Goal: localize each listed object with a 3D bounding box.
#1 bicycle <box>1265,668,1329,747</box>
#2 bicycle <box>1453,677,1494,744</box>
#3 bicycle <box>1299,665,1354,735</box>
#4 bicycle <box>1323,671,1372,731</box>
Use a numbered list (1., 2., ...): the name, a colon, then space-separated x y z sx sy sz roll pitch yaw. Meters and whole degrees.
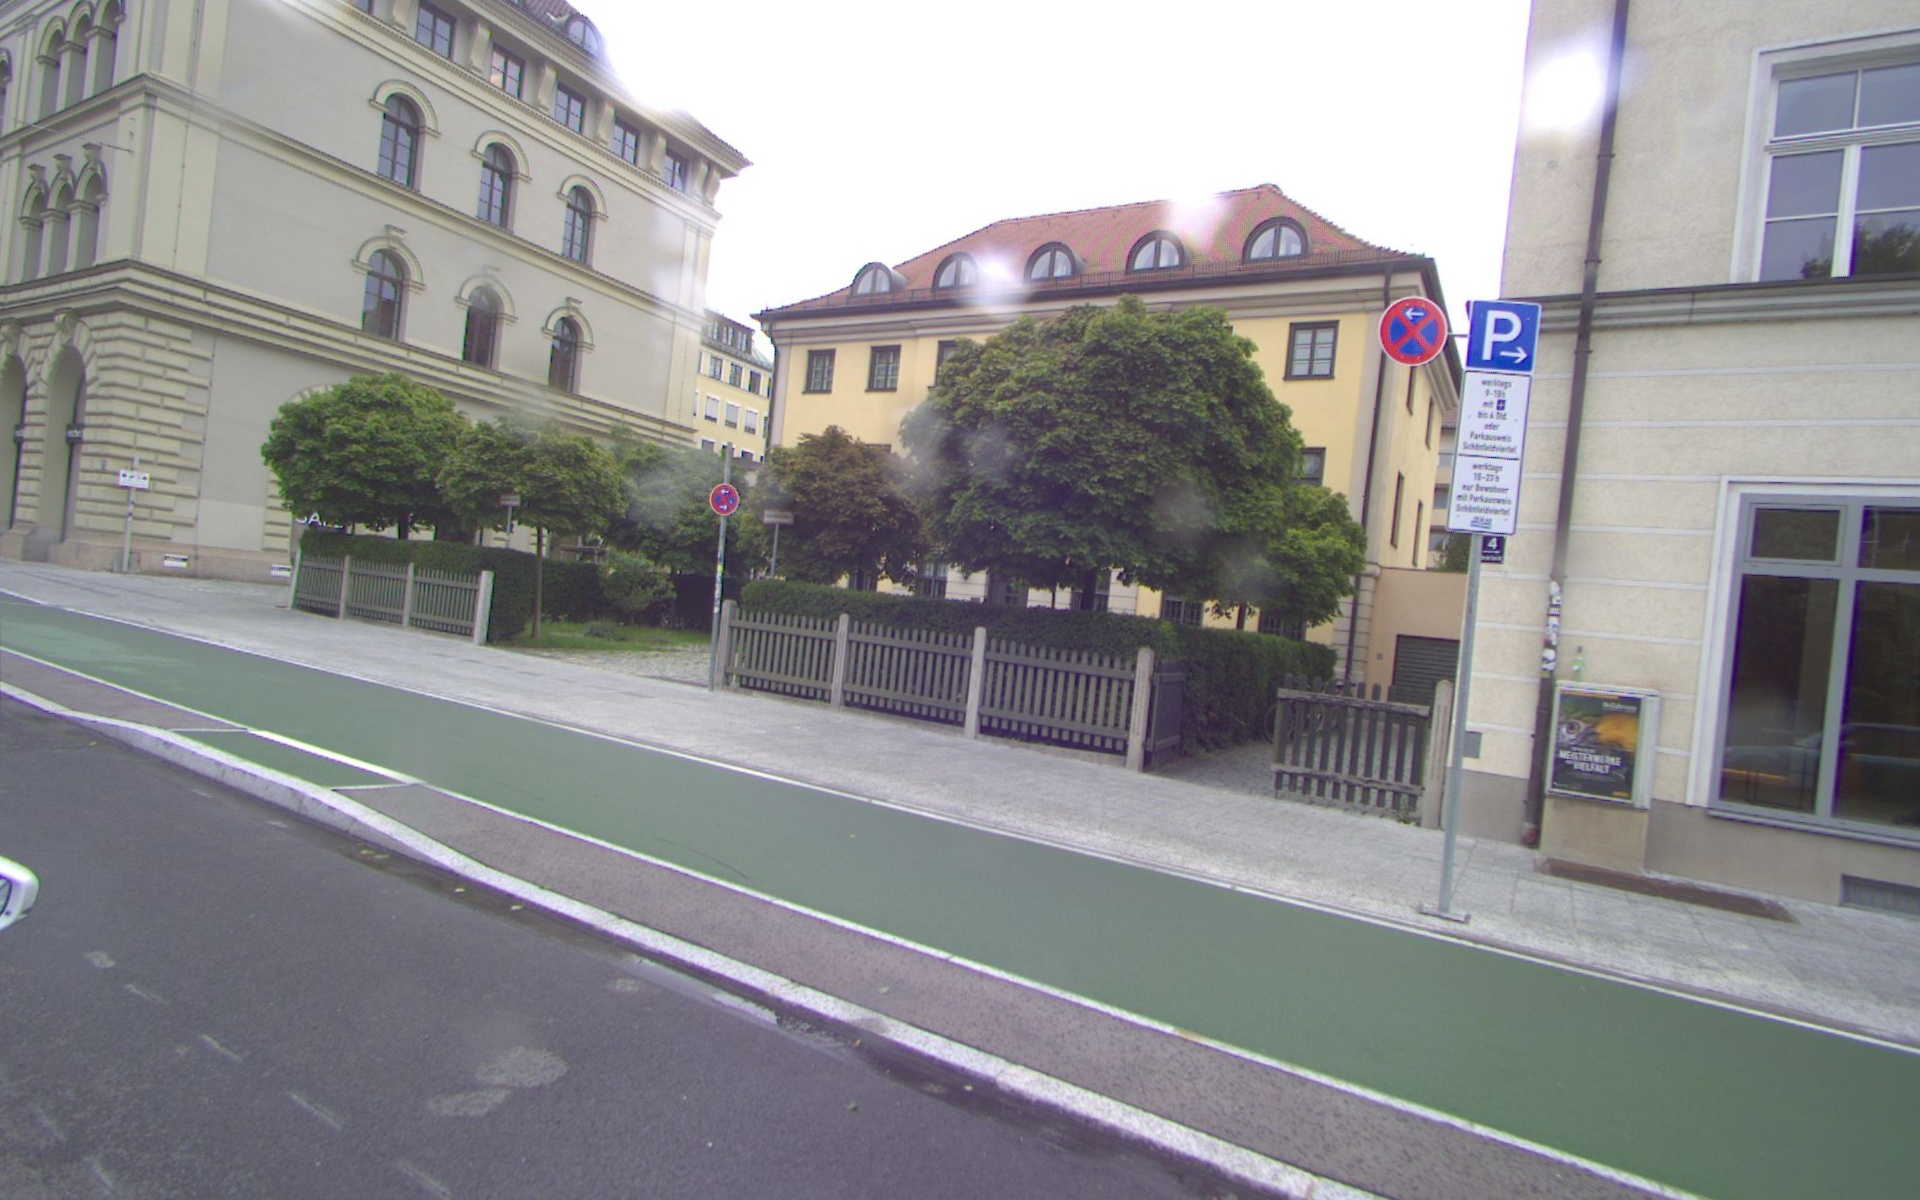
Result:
1. bicycle: 5.380 1.685 15.986 0.512 1.130 1.830 6 -1 30
2. bicycle: 10.041 2.137 19.644 0.512 1.185 1.830 6 -1 30
3. bicycle: 6.514 1.756 17.822 0.512 1.124 1.830 6 -1 30
4. bicycle: 7.507 1.942 19.457 0.512 1.048 1.830 6 -1 30
